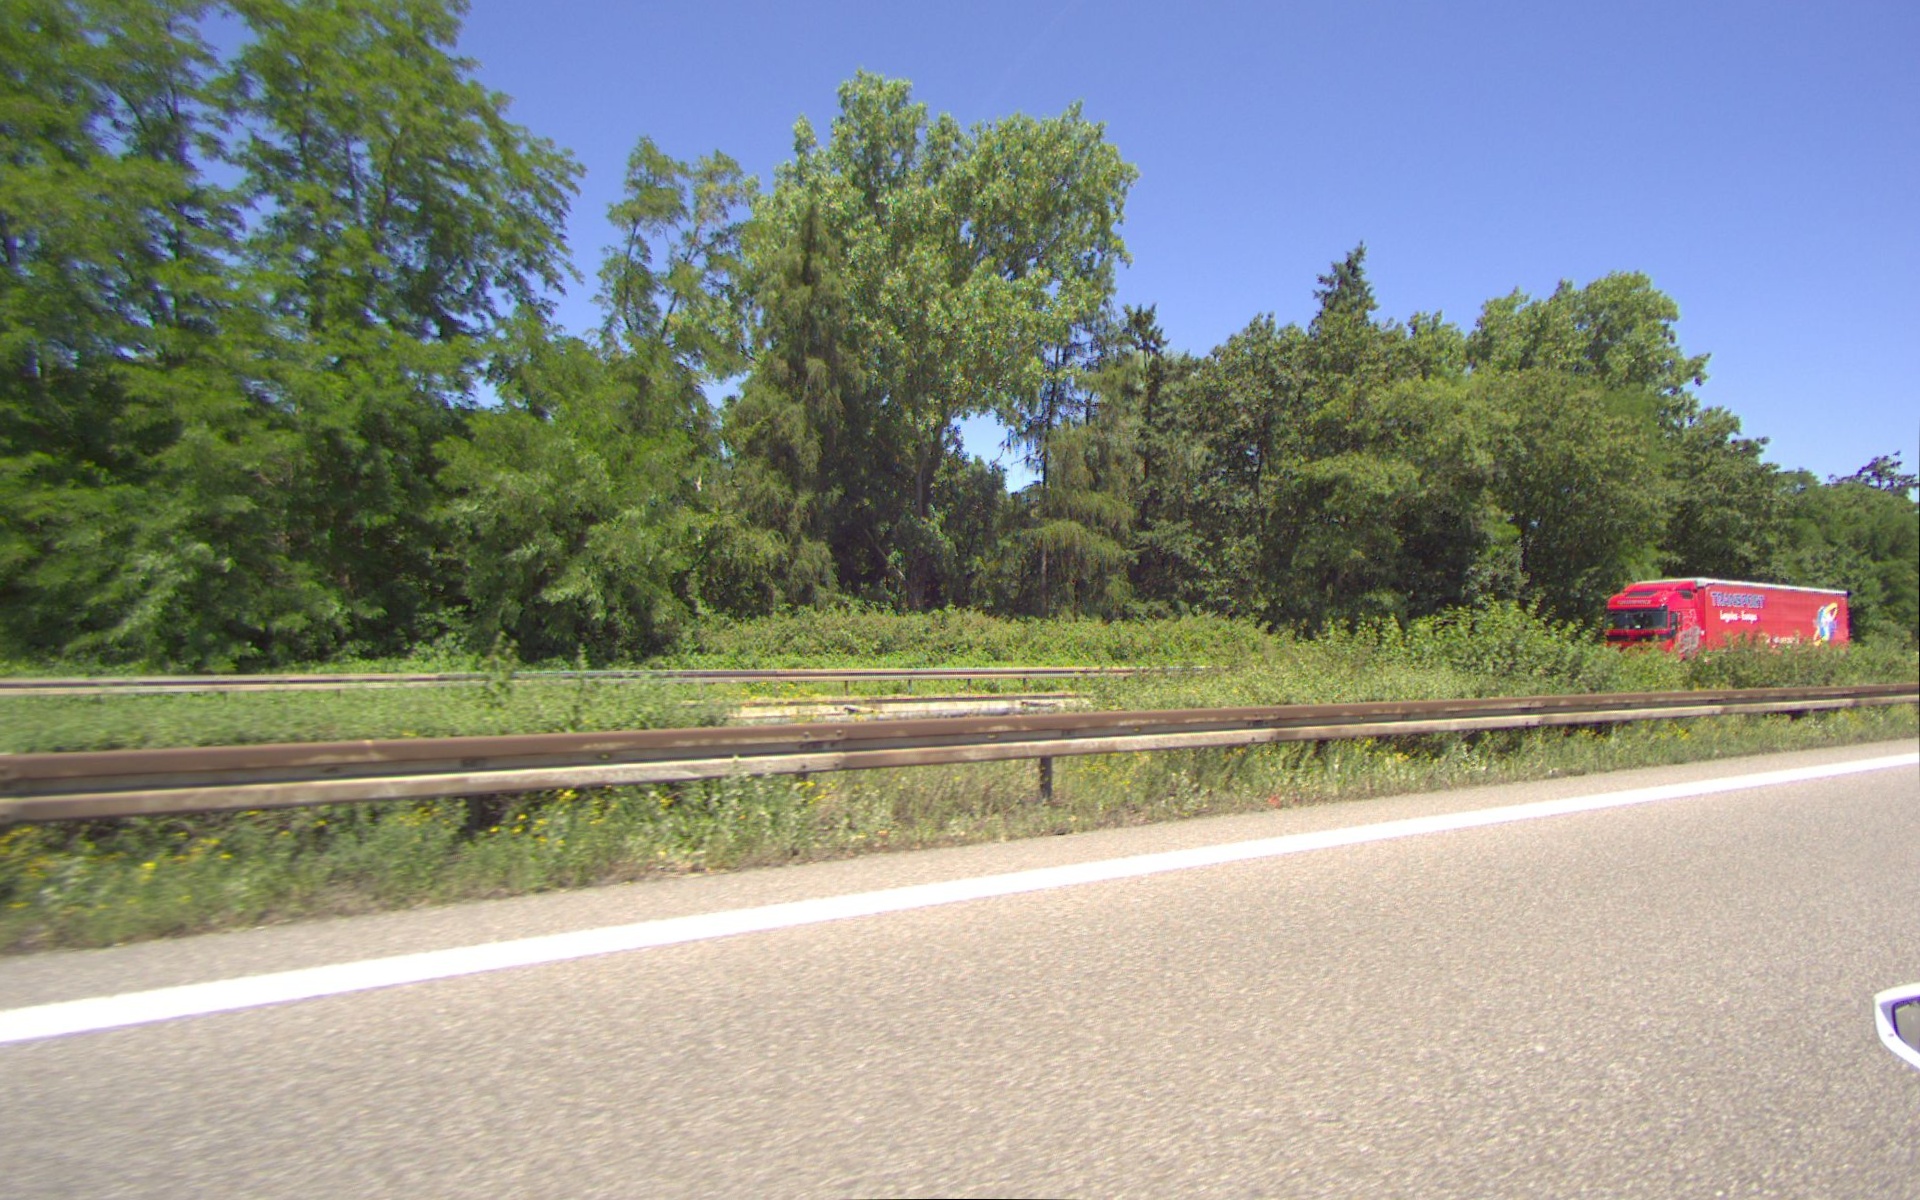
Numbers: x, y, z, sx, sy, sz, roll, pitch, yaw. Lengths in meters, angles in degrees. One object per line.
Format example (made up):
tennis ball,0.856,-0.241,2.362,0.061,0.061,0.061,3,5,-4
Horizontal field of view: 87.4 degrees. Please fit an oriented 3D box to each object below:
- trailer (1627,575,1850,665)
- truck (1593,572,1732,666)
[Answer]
trailer,33.691,0.905,43.123,13.991,3.463,2.573,1,0,-31
truck,27.615,0.746,39.467,5.058,3.468,2.585,1,0,-31
